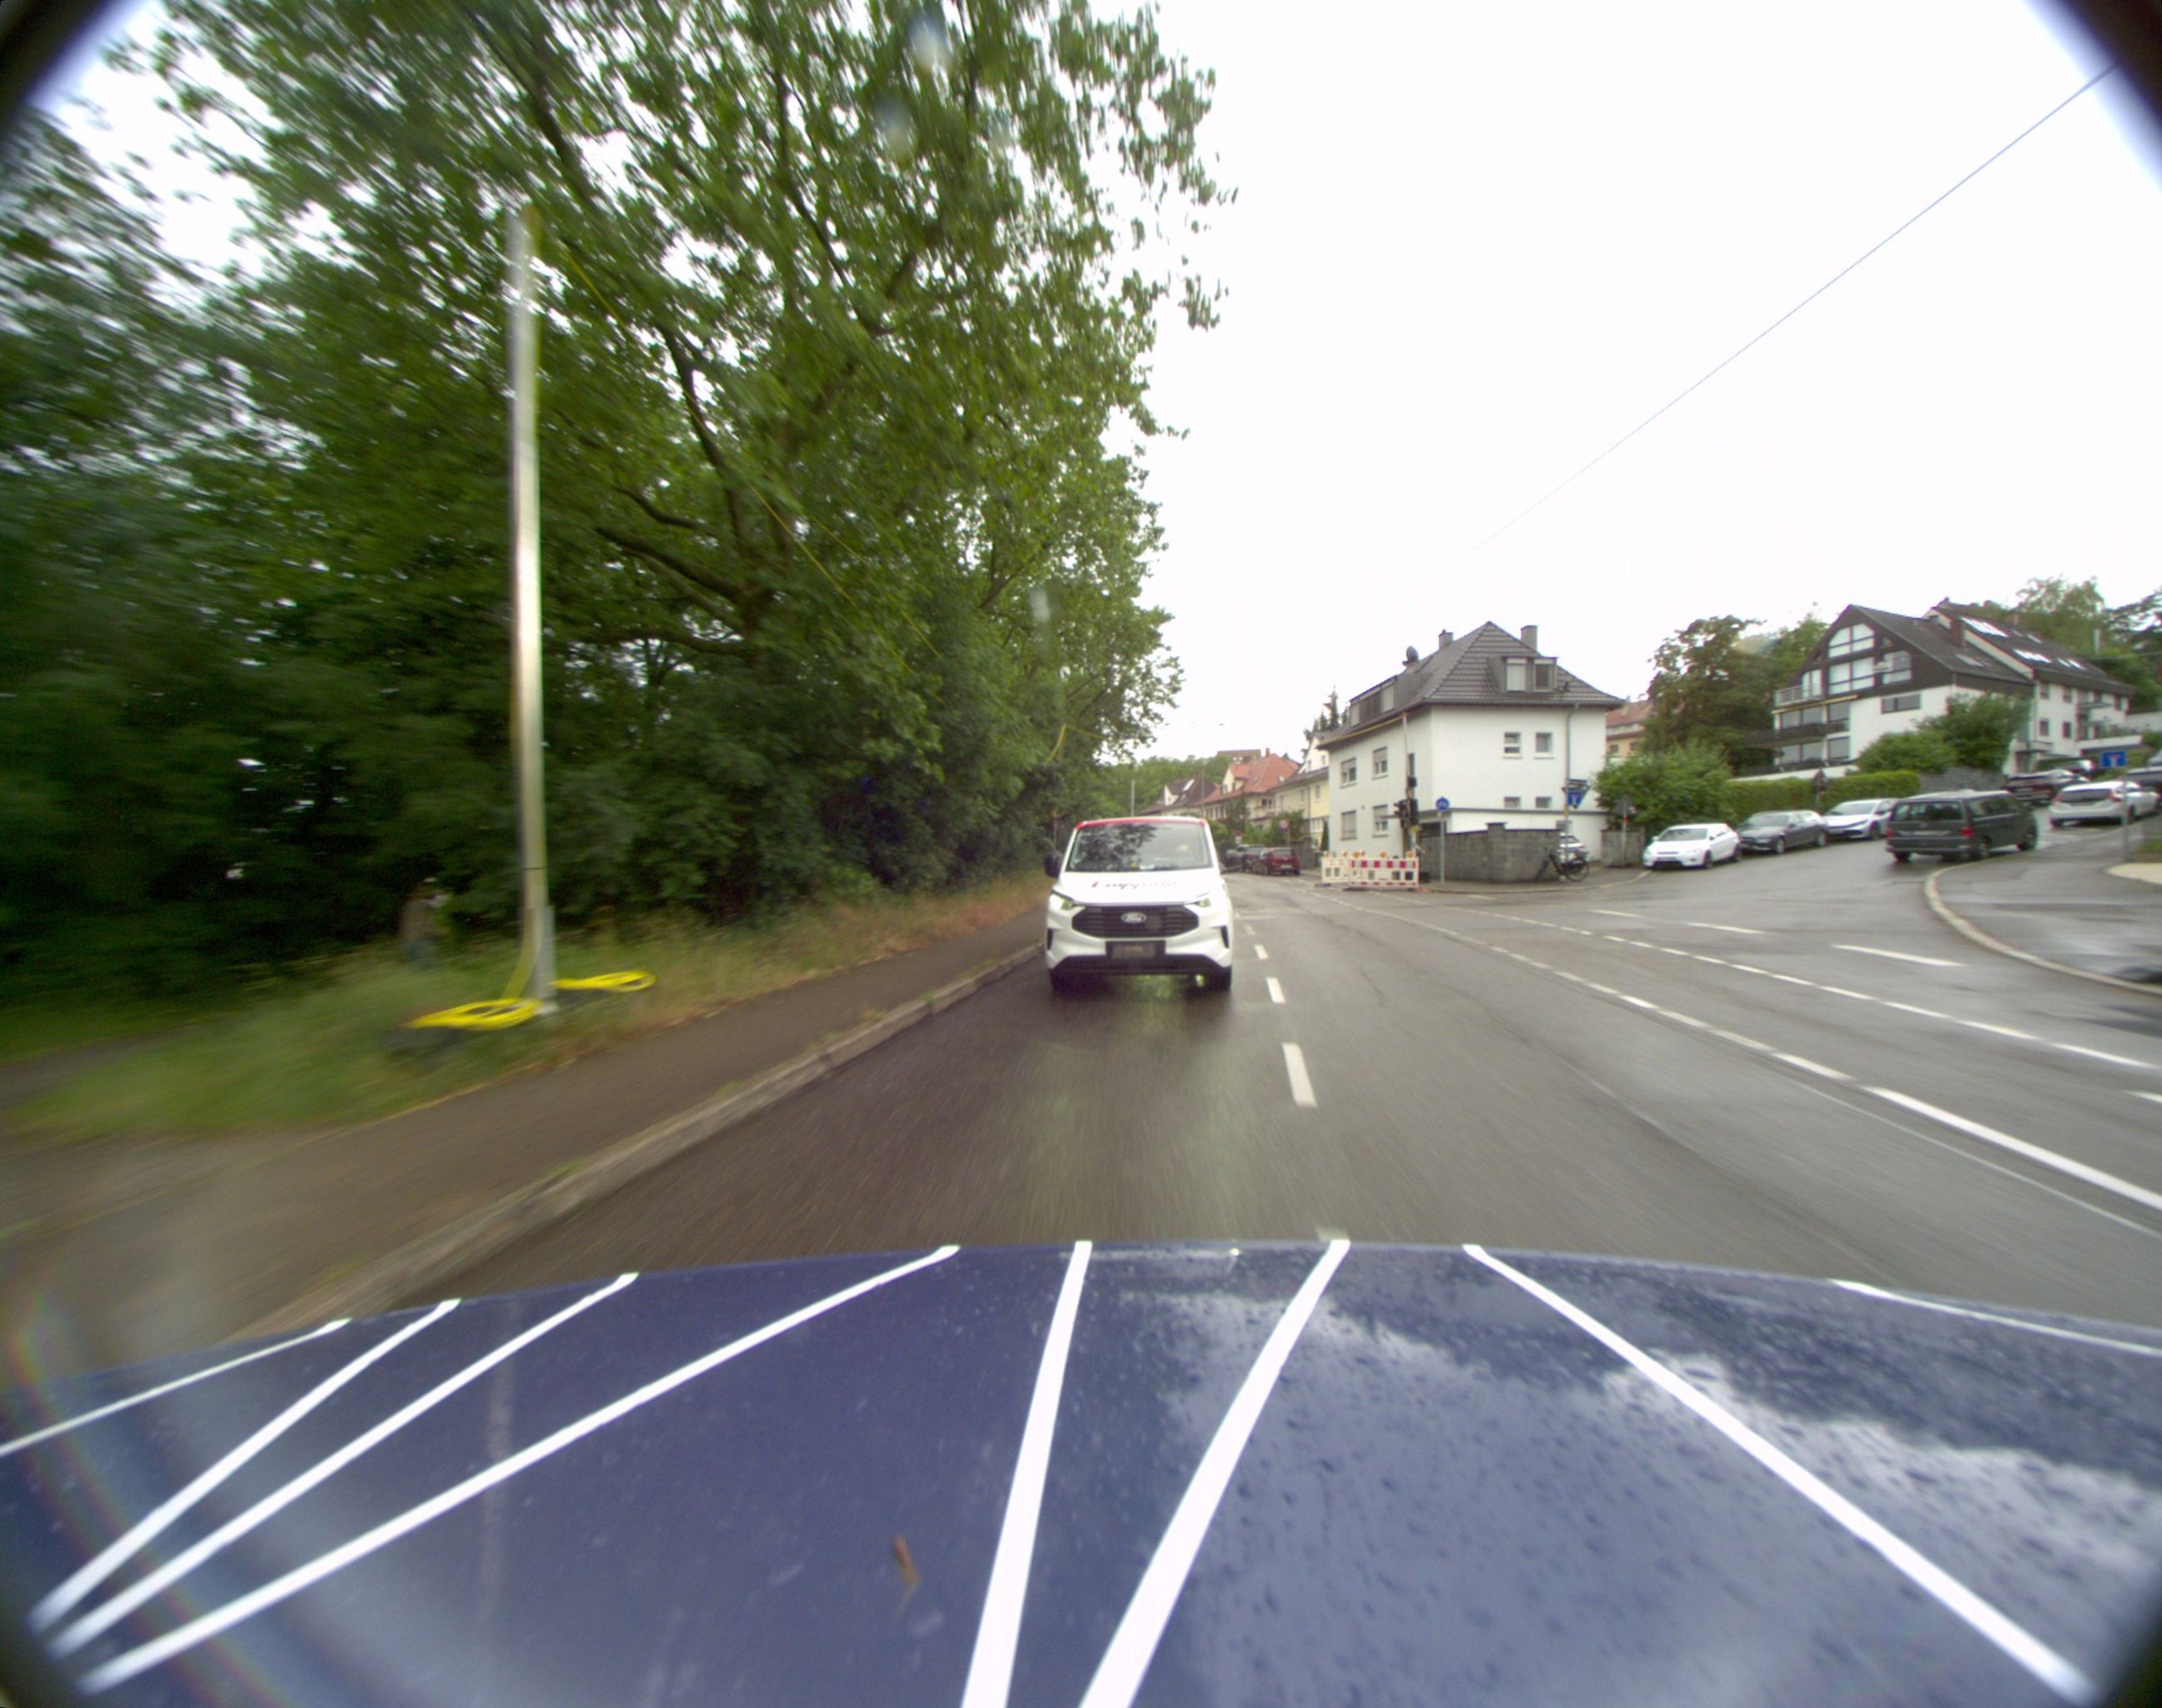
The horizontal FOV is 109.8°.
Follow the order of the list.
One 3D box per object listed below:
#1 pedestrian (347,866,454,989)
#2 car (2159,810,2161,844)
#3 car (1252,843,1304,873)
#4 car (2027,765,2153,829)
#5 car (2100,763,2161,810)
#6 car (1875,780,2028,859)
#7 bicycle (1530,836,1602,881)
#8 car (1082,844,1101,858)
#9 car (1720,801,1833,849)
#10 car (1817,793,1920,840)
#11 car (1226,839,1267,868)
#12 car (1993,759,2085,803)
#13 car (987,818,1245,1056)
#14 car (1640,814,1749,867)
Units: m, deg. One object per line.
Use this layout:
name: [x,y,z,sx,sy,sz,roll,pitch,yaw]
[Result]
pedestrian: [-9.440,0.989,10.579,0.732,1.595,0.751,-2,2,-7]
car: [24.139,-0.395,14.440,3.913,1.324,1.570,-6,-2,43]
car: [10.435,0.230,40.545,1.897,1.485,3.798,-1,-1,2]
car: [37.135,-2.094,27.978,3.415,1.827,1.918,-8,3,-22]
car: [42.125,-2.723,29.849,3.563,1.461,1.580,-8,3,-21]
car: [27.095,-1.051,23.669,3.799,1.926,1.911,-8,3,-22]
bicycle: [15.029,0.140,23.558,1.731,1.304,0.707,-2,2,3]
car: [1.435,-0.471,106.998,2.000,1.850,4.357,-2,1,-7]
car: [26.861,-1.110,29.337,3.857,1.458,1.701,-6,2,-23]
car: [31.976,-1.527,30.851,3.857,1.458,1.579,-8,3,-23]
car: [9.866,0.030,45.614,1.669,1.579,4.007,-2,-1,2]
car: [46.207,-3.527,36.652,3.986,1.547,1.334,-8,3,-17]
car: [0.724,0.630,8.740,2.044,1.883,5.212,-2,1,10]
car: [21.590,-0.488,26.720,3.565,1.458,1.746,-7,2,-30]
